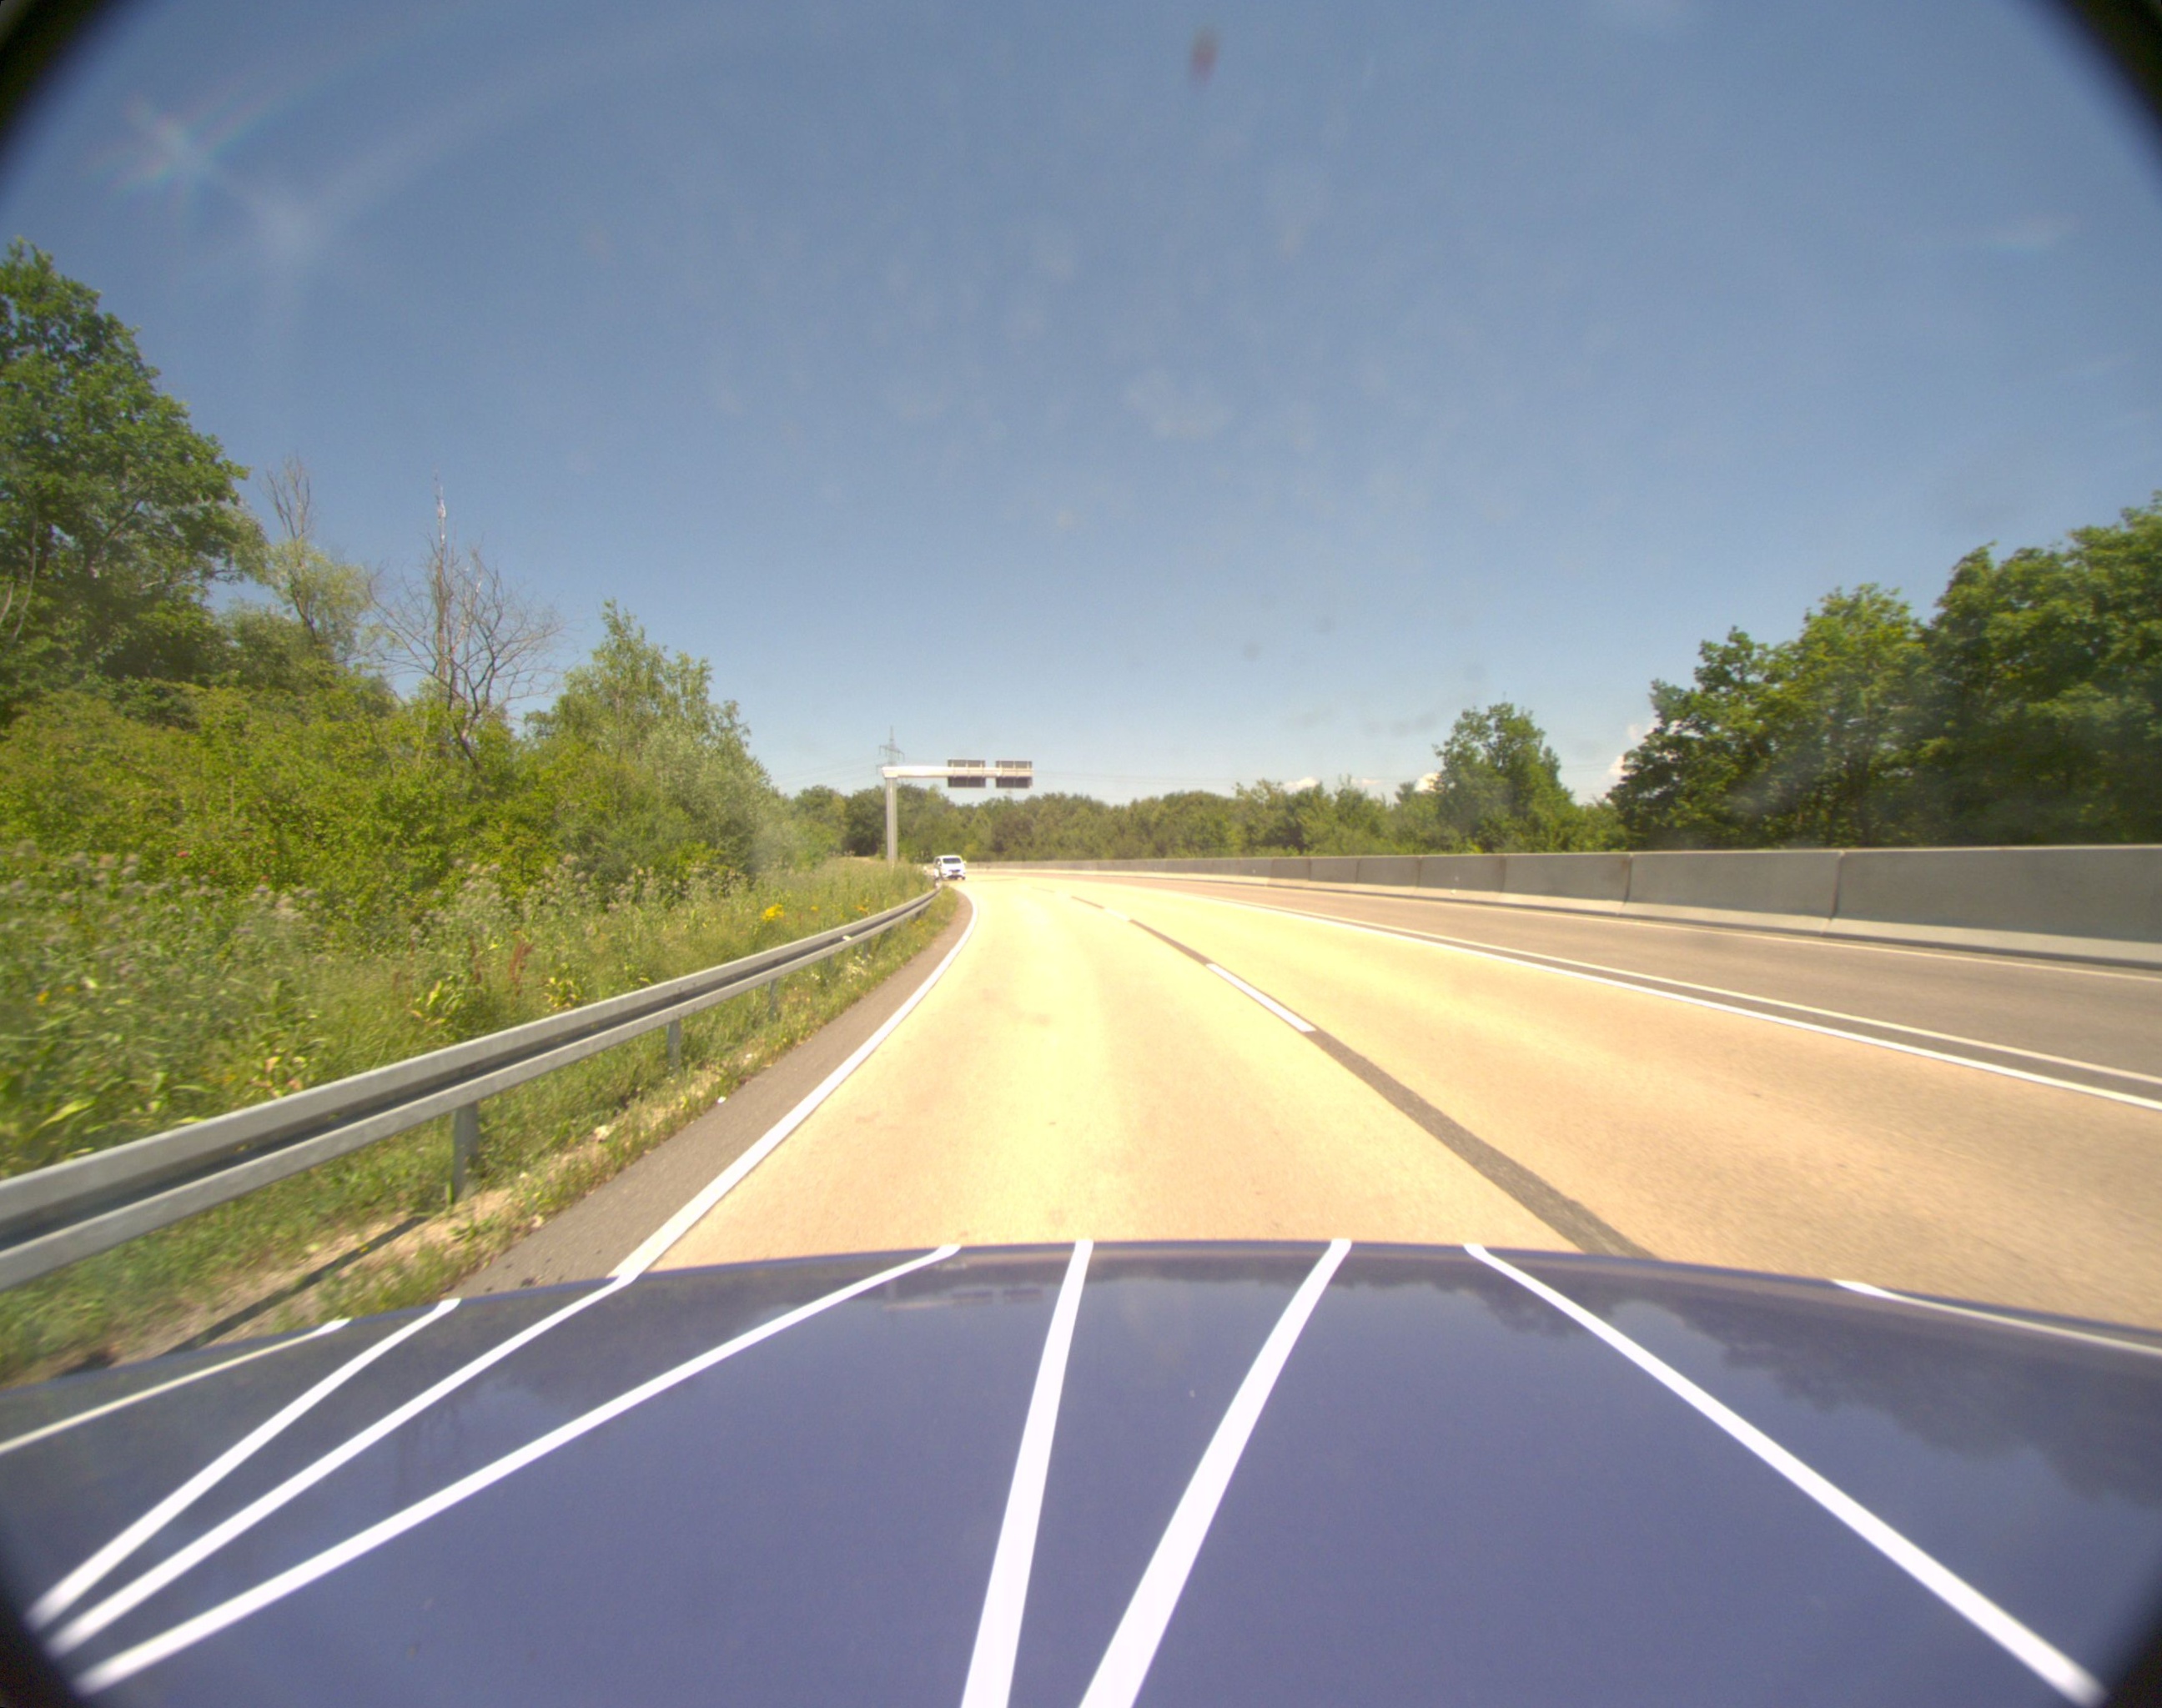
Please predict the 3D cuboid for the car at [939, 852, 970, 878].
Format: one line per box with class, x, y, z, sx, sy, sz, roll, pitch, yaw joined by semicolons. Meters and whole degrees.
car;-10.505;0.884;62.835;2.064;2.002;5.035;-3;1;-13
